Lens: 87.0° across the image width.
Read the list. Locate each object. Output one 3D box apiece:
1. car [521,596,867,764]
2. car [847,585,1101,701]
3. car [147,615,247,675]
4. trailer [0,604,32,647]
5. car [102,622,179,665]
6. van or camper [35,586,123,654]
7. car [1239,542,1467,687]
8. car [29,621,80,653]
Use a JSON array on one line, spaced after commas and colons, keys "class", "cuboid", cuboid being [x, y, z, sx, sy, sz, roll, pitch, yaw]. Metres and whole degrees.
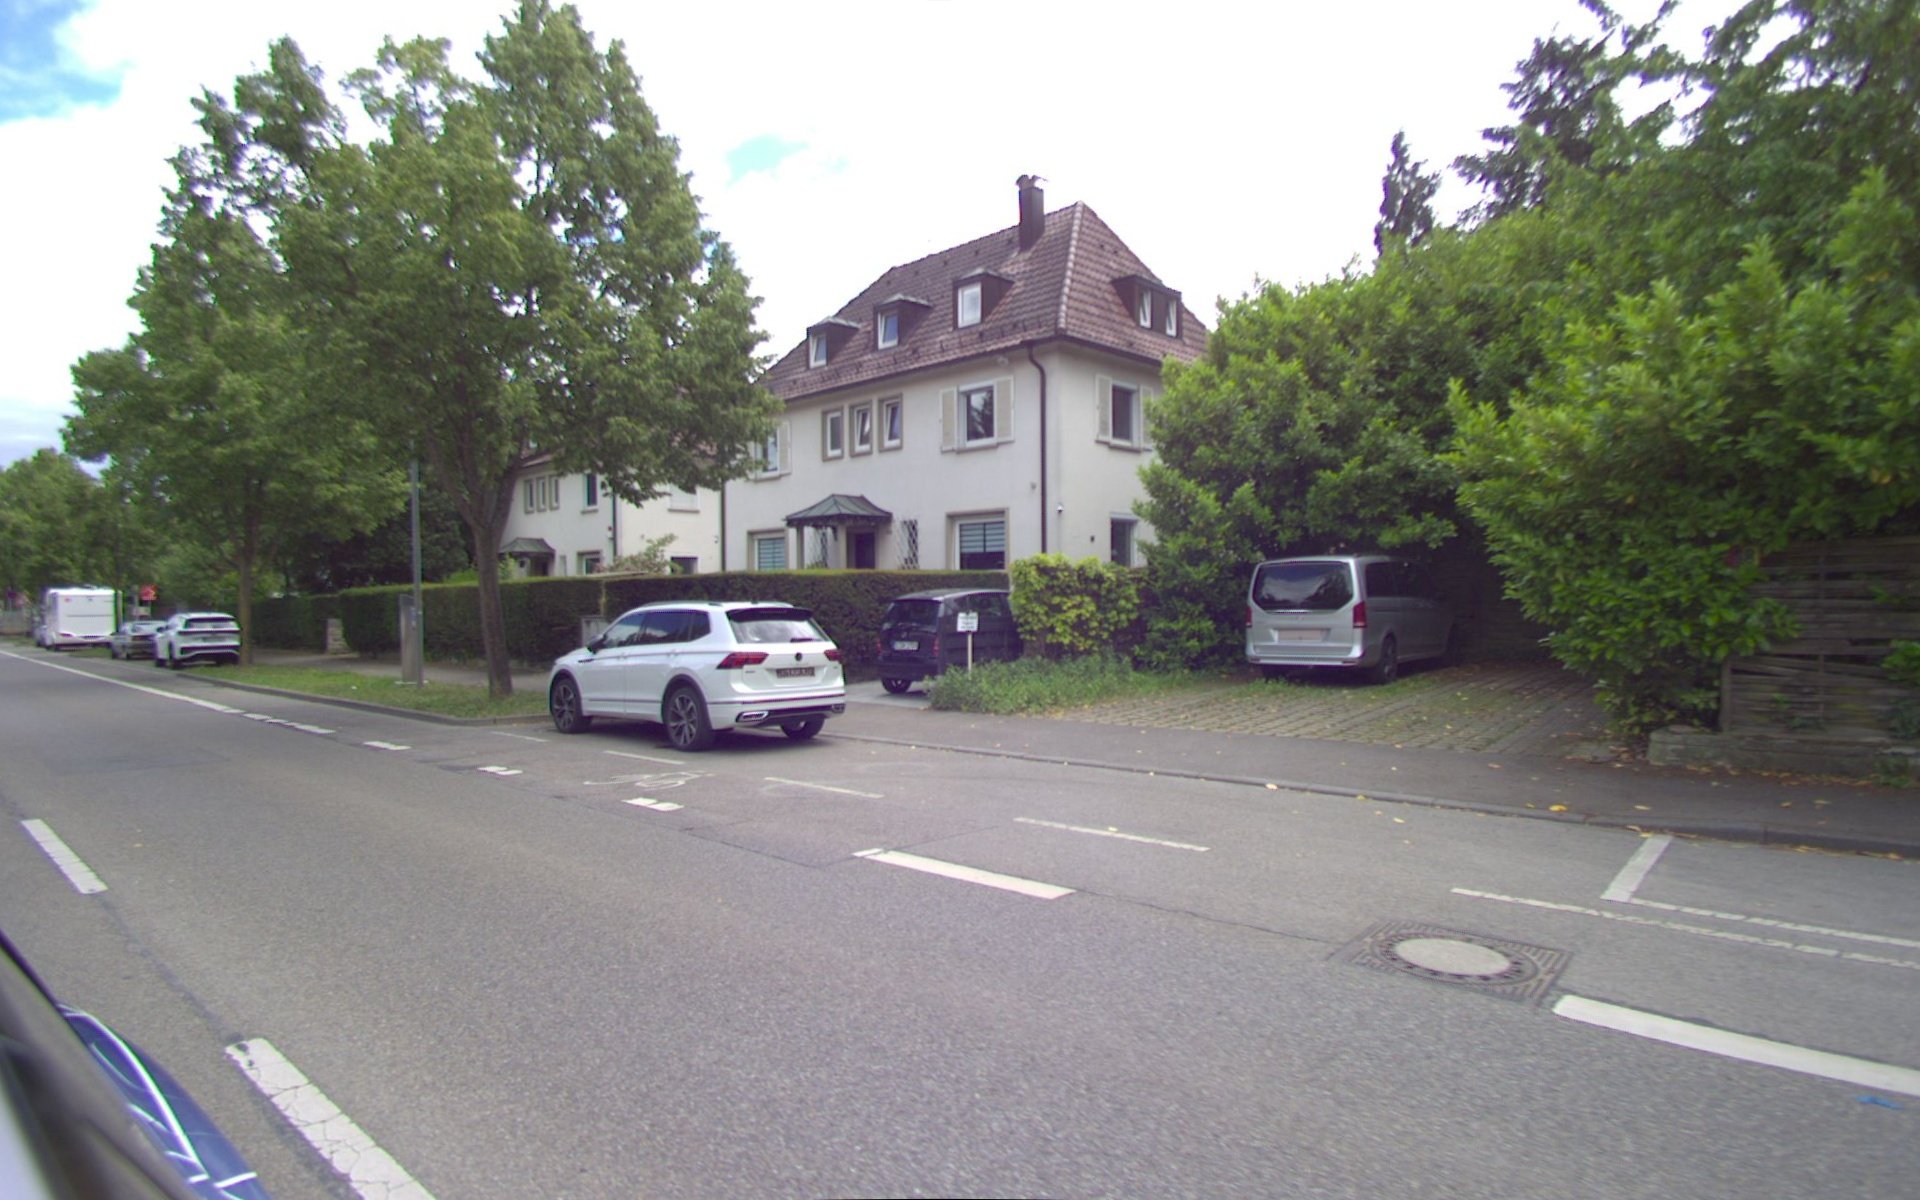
[{"class": "car", "cuboid": [-3.483, 0.859, 12.607, 4.865, 1.701, 1.853, -1, -1, 43]}, {"class": "car", "cuboid": [0.336, 0.620, 16.174, 1.764, 1.597, 4.152, -1, -1, 42]}, {"class": "car", "cuboid": [-23.575, 1.331, 31.191, 4.701, 1.665, 1.796, -1, 0, 45]}, {"class": "trailer", "cuboid": [-70.316, 1.834, 74.231, 7.474, 2.963, 2.645, 0, 0, 42]}, {"class": "car", "cuboid": [-30.825, 1.606, 38.021, 4.450, 1.481, 1.539, -1, -1, 41]}, {"class": "van or camper", "cuboid": [-42.620, 0.959, 48.874, 7.693, 3.032, 2.408, -1, -1, 43]}, {"class": "car", "cuboid": [6.301, 0.222, 15.938, 1.899, 1.951, 4.410, -1, -1, 42]}, {"class": "car", "cuboid": [-48.839, 1.985, 54.557, 4.272, 1.612, 1.703, -1, -1, 43]}]
